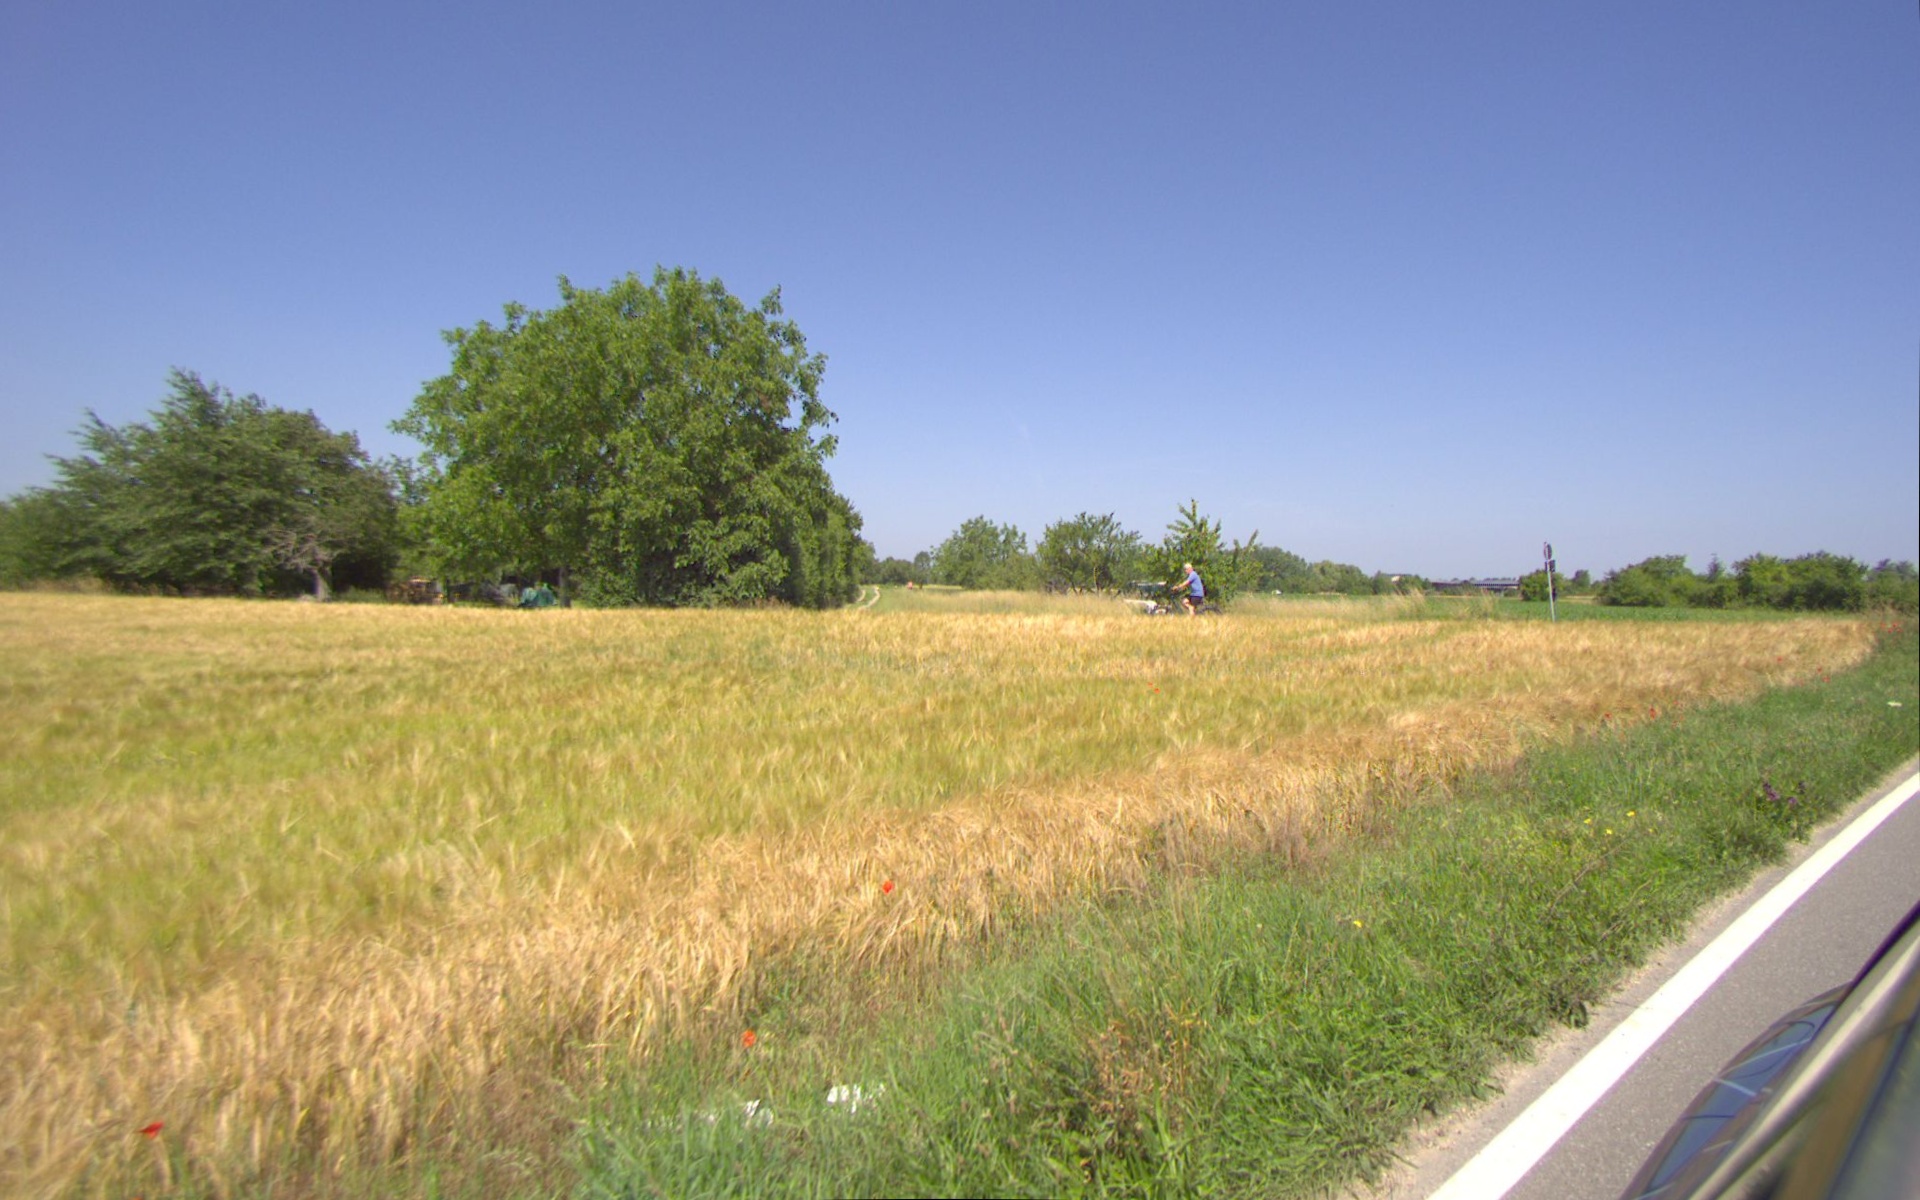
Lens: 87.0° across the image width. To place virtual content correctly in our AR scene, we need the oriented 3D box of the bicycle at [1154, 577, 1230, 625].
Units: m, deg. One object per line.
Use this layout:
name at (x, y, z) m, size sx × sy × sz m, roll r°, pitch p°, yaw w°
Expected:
bicycle at (5.660, 0.018, 24.766) m, size 1.737 × 1.129 × 0.521 m, roll 1°, pitch 1°, yaw 3°

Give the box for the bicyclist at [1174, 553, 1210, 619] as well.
bicyclist at (5.665, -0.349, 24.762) m, size 0.722 × 1.593 × 0.674 m, roll 1°, pitch 1°, yaw 2°
